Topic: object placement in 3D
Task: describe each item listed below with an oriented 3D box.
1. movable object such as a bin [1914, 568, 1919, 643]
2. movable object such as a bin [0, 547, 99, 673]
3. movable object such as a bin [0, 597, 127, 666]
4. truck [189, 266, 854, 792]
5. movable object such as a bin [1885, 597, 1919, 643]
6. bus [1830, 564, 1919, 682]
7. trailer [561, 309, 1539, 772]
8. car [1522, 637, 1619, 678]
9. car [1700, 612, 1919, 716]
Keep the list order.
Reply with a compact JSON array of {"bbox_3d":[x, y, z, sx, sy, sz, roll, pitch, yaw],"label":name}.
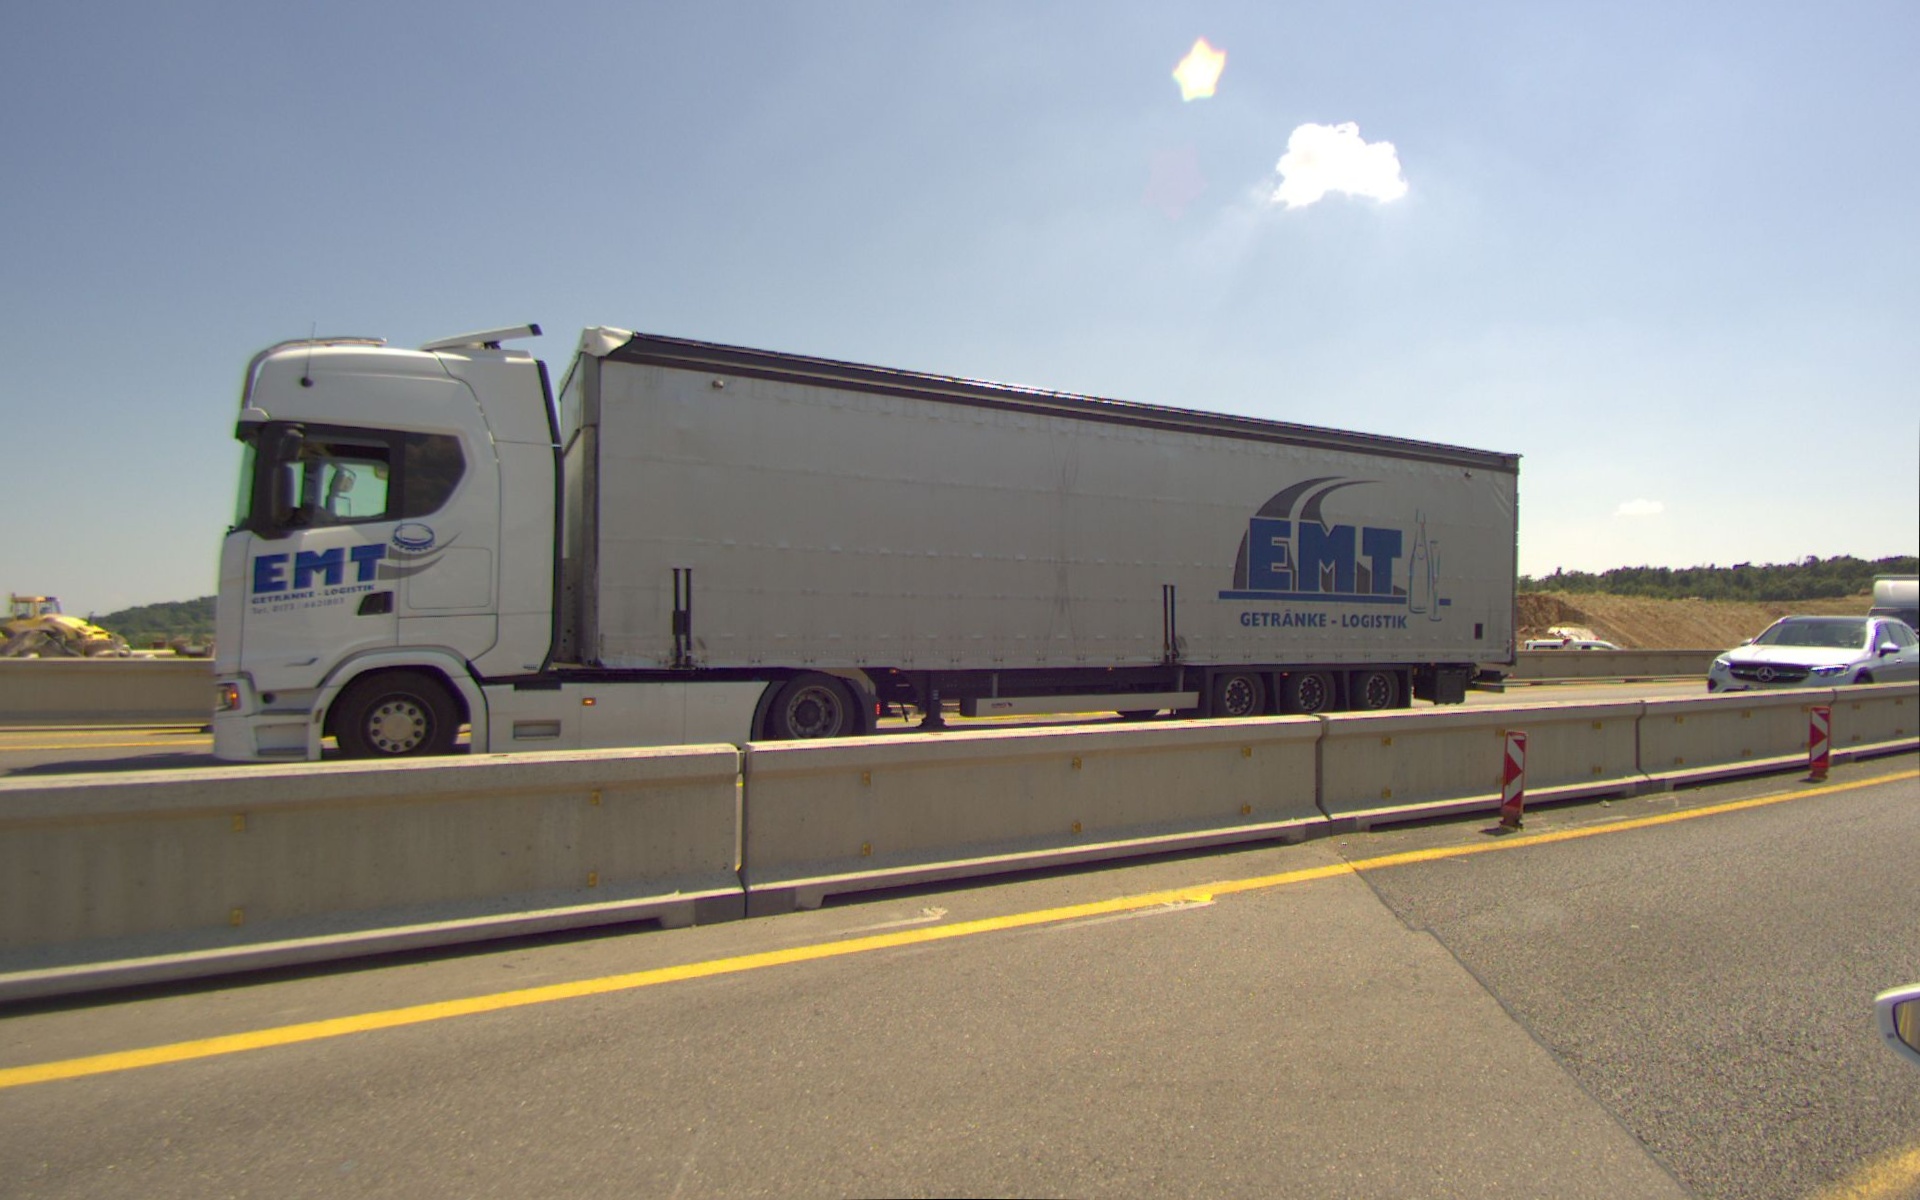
[{"bbox_3d":[103.052,0.570,102.544,3.410,7.815,7.591,1,-1,-34],"label":"movable object such as a bin"},{"bbox_3d":[-25.592,0.272,26.237,4.202,3.182,1.996,0,-1,-12],"label":"movable object such as a bin"},{"bbox_3d":[-42.493,1.485,47.396,4.407,3.182,1.996,0,-1,-12],"label":"movable object such as a bin"},{"bbox_3d":[-4.084,-0.497,10.230,5.426,4.115,2.694,1,-1,-25],"label":"truck"},{"bbox_3d":[158.943,3.127,158.695,3.582,7.326,18.577,1,-2,-37],"label":"movable object such as a bin"},{"bbox_3d":[28.338,0.699,29.473,7.150,3.167,2.336,1,-2,-33],"label":"bus"},{"bbox_3d":[2.180,-0.411,13.473,13.800,4.168,2.750,1,-1,-28],"label":"trailer"},{"bbox_3d":[23.481,2.176,38.732,3.144,1.474,1.545,-1,-2,30],"label":"car"},{"bbox_3d":[14.300,0.979,16.486,4.722,1.495,1.787,1,-2,-31],"label":"car"}]
